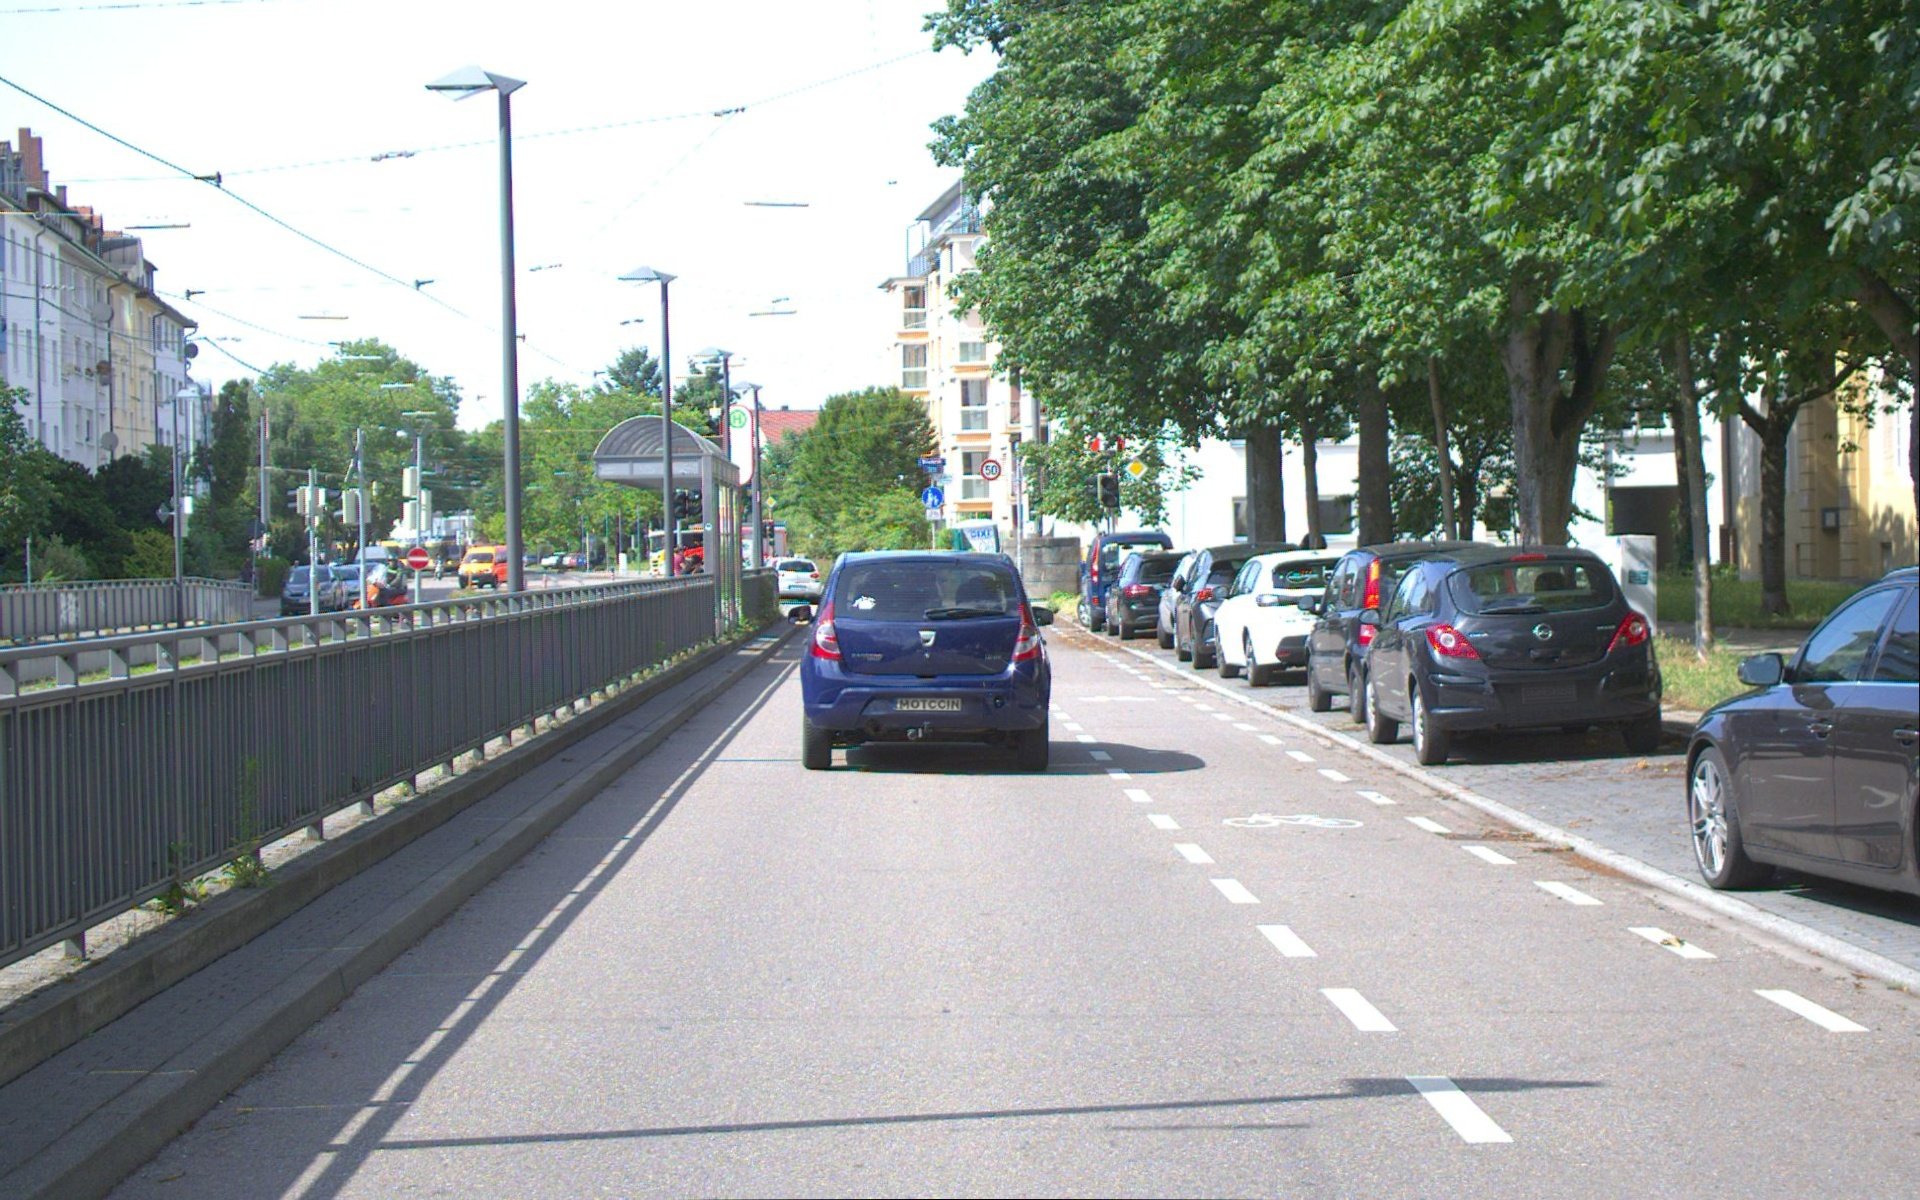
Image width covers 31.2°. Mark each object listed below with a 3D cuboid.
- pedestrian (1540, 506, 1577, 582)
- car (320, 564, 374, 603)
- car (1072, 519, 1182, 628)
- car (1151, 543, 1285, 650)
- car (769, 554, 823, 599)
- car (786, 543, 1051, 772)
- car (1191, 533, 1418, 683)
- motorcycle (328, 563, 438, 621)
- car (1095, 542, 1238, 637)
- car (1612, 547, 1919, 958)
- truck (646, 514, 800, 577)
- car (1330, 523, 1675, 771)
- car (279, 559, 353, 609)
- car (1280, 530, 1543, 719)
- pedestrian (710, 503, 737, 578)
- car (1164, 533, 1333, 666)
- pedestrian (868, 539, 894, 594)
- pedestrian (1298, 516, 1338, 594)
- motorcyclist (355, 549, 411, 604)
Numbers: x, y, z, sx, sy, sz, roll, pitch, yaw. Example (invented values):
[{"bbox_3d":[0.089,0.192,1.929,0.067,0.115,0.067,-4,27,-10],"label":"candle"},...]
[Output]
[{"bbox_3d":[12.658,-1.179,72.725,0.631,1.590,0.540,-1,0,-4],"label":"pedestrian"},{"bbox_3d":[-23.142,-0.615,129.959,1.768,1.437,4.001,1,0,-7],"label":"car"},{"bbox_3d":[3.116,-0.530,64.686,1.823,1.889,4.184,-2,1,1],"label":"car"},{"bbox_3d":[3.742,-0.071,50.336,1.590,1.440,3.598,-3,1,-1],"label":"car"},{"bbox_3d":[-5.468,-0.770,114.483,1.622,1.460,3.511,1,0,-5],"label":"car"},{"bbox_3d":[-0.330,0.373,24.779,1.744,1.502,4.000,1,0,-2],"label":"car"},{"bbox_3d":[3.873,0.055,39.325,1.835,1.518,4.254,-3,1,-3],"label":"car"},{"bbox_3d":[-14.256,-0.206,84.961,2.510,1.335,1.017,-3,1,-43],"label":"motorcycle"},{"bbox_3d":[3.512,-0.212,59.336,1.917,1.437,4.797,-4,1,-2],"label":"car"},{"bbox_3d":[4.206,0.507,13.796,1.831,1.462,4.832,-3,0,-5],"label":"car"},{"bbox_3d":[-13.775,-3.180,199.706,8.353,3.175,2.605,-4,1,-23],"label":"truck"},{"bbox_3d":[3.898,0.284,25.390,1.690,1.556,4.308,-4,1,-1],"label":"car"},{"bbox_3d":[-21.338,-0.531,114.042,1.993,1.639,4.001,1,0,-5],"label":"car"},{"bbox_3d":[3.950,0.203,30.587,1.555,1.456,3.559,-5,0,-4],"label":"car"},{"bbox_3d":[-5.247,-1.320,76.205,0.517,1.642,0.530,-2,0,-4],"label":"pedestrian"},{"bbox_3d":[3.712,-0.050,44.923,1.725,1.578,4.677,-2,1,0],"label":"car"},{"bbox_3d":[-2.626,-1.119,114.546,0.701,1.783,1.030,-4,1,-4],"label":"pedestrian"},{"bbox_3d":[7.875,-0.997,75.675,0.744,1.690,0.767,-2,1,0],"label":"pedestrian"},{"bbox_3d":[-14.259,-0.584,84.955,0.984,1.335,0.941,-2,1,-44],"label":"motorcyclist"}]
